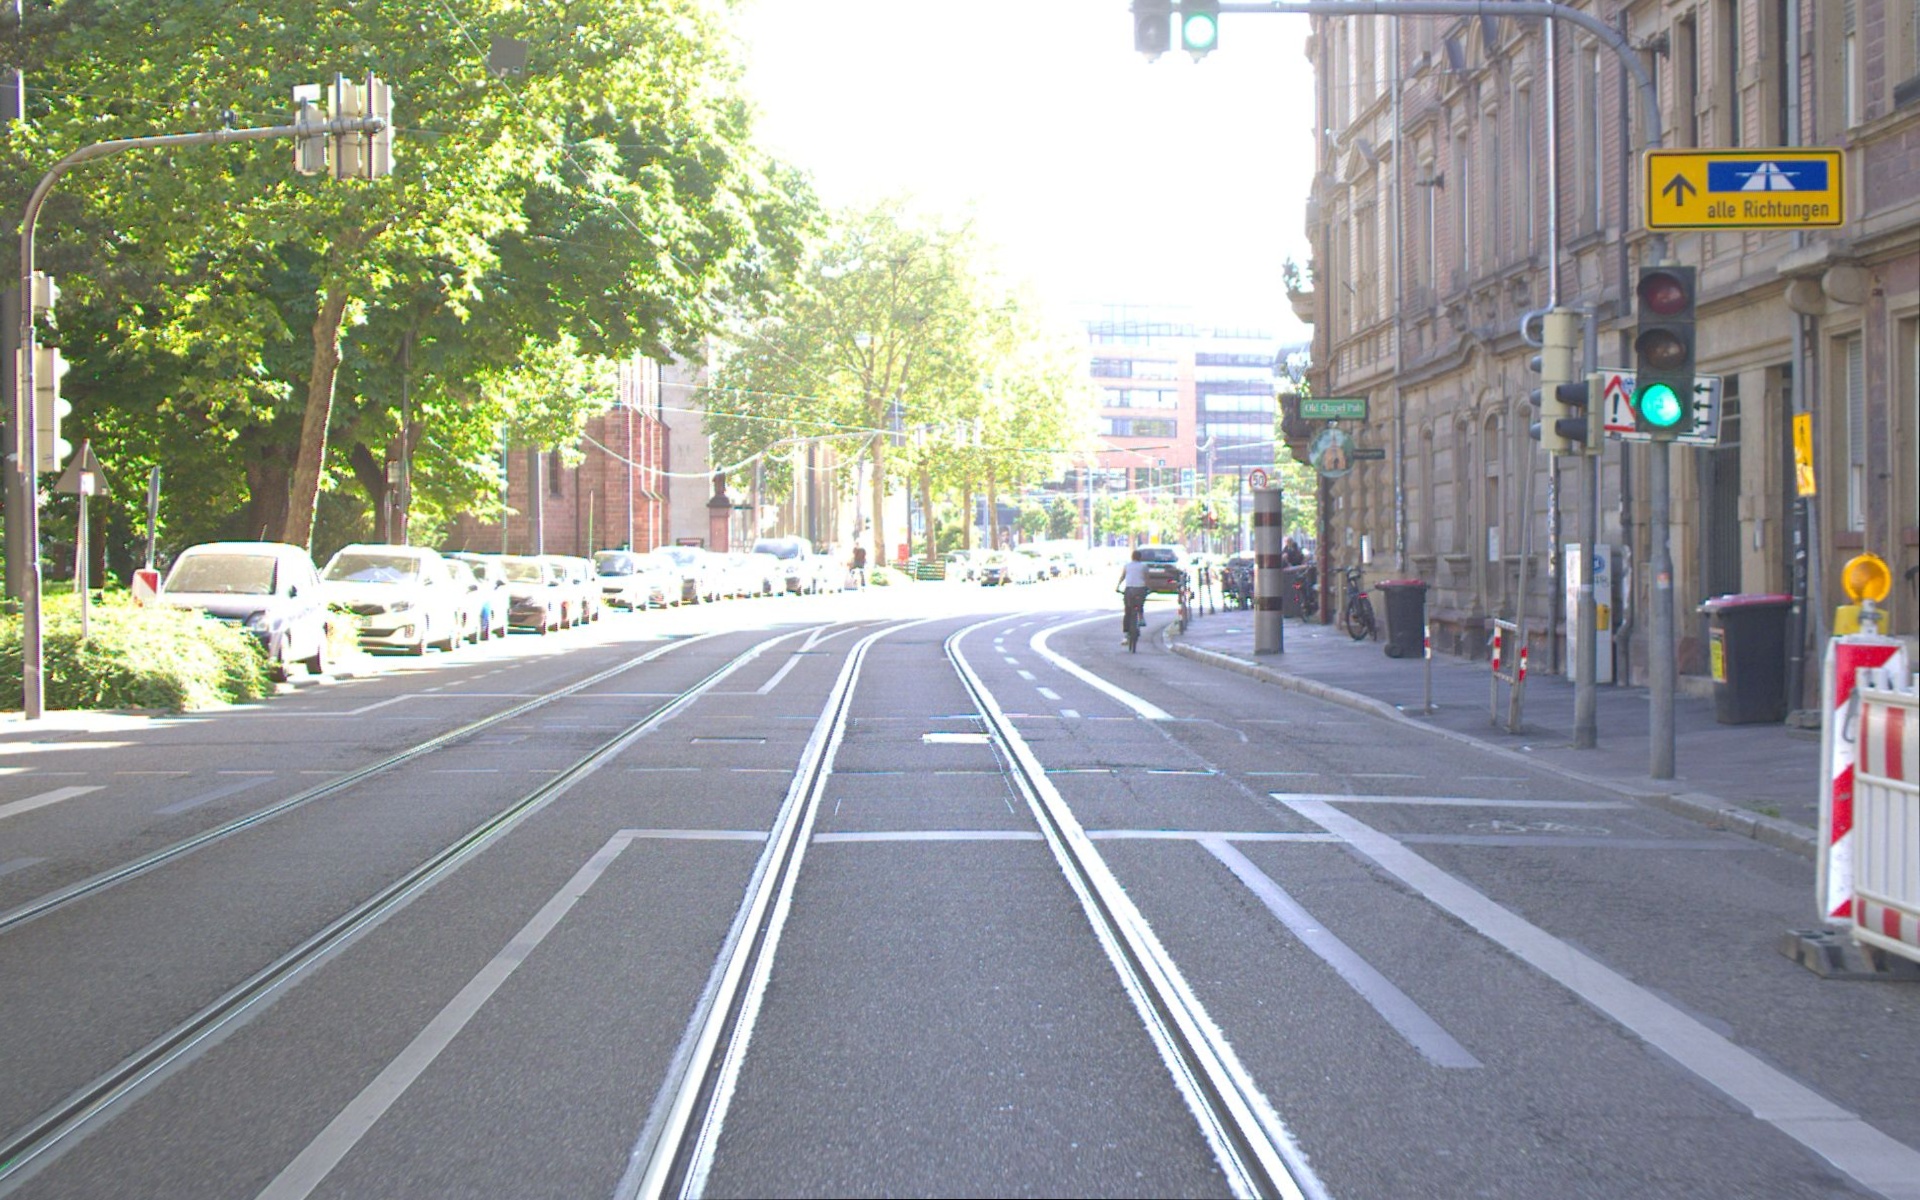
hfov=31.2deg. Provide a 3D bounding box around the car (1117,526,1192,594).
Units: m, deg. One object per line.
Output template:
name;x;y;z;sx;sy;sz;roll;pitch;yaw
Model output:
car;5.906;-1.209;104.704;1.993;2.007;4.000;1;0;0

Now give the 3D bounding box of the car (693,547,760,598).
car;-7.512;-0.892;111.043;1.748;1.581;4.043;1;0;2

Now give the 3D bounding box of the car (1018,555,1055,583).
car;4.023;-1.608;179.843;1.748;1.417;4.043;1;0;4

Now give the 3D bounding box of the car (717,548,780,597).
car;-7.136;-0.926;116.239;1.748;1.581;4.043;1;0;2

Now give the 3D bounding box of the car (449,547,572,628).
car;-8.790;-0.247;67.504;1.748;1.504;4.043;1;0;2

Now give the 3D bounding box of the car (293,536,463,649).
car;-8.740;-0.130;51.908;1.748;1.602;4.043;1;0;2

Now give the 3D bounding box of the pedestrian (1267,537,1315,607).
pedestrian;8.543;-0.726;88.808;1.055;1.754;1.332;1;0;0

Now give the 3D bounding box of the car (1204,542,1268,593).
car;10.223;-1.209;127.591;2.027;1.842;4.298;1;0;0

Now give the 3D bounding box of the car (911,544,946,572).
car;-1.892;-2.511;205.742;1.748;1.619;4.043;1;0;4

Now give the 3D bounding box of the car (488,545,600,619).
car;-8.812;-0.393;73.061;1.748;1.500;4.043;1;0;2

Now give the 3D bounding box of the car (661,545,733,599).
car;-8.071;-0.862;105.837;1.748;1.581;4.043;1;0;2

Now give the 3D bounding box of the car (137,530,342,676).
car;-8.617;0.019;41.367;1.545;1.653;3.762;1;0;2

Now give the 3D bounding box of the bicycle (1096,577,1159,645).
bicycle;2.762;0.174;56.814;0.856;1.084;2.487;1;0;-1

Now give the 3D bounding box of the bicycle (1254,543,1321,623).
bicycle;6.482;-0.332;67.874;0.971;1.510;3.244;1;0;11

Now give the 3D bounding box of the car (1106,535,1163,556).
car;12.831;-4.009;252.718;4.032;1.417;1.753;1;0;9

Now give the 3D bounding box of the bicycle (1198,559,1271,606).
bicycle;6.679;-0.428;83.514;0.641;1.114;2.292;1;0;36

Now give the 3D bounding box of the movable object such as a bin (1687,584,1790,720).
movable object such as a bin;6.482;0.427;28.656;0.620;1.106;0.781;1;0;-4

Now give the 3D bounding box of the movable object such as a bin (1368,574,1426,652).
movable object such as a bin;5.949;0.176;46.835;0.673;1.032;0.813;-1;2;0

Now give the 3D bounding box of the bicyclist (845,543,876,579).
bicyclist;-4.103;-1.606;141.392;1.078;1.423;1.146;1;0;7

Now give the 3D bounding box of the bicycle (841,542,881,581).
bicycle;-4.078;-1.565;141.423;1.234;1.567;2.896;1;0;6

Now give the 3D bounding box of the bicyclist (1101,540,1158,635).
bicyclist;2.794;-0.208;56.824;0.838;1.552;0.965;1;0;-1

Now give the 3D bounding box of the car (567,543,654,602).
car;-9.164;-0.717;90.448;1.748;1.490;4.043;1;0;2

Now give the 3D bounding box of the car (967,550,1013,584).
car;1.319;-1.422;149.321;1.748;1.417;4.043;1;0;4

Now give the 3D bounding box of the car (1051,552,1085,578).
car;6.005;-1.921;190.433;1.748;1.417;4.043;1;0;4

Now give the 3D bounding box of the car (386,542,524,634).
car;-9.063;-0.226;61.988;1.748;1.581;4.043;1;0;2

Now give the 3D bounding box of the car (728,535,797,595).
car;-6.944;-1.221;121.280;2.058;2.045;4.043;1;0;2

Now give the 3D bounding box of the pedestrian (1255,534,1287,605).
pedestrian;8.294;-0.818;91.725;0.784;1.882;0.970;1;0;7

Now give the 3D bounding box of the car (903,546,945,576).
car;-1.751;-1.931;168.894;1.748;1.417;4.043;1;0;4

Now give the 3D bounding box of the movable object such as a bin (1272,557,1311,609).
movable object such as a bin;7.060;-0.368;73.201;0.695;1.089;0.742;1;0;-3

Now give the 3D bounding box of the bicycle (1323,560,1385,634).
bicycle;6.083;-0.054;53.167;0.639;1.114;2.297;1;0;0

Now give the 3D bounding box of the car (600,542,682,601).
car;-8.841;-0.796;95.516;1.748;1.581;4.043;1;0;2

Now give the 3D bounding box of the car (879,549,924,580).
car;-2.690;-1.632;158.946;1.748;1.417;4.043;1;0;4
